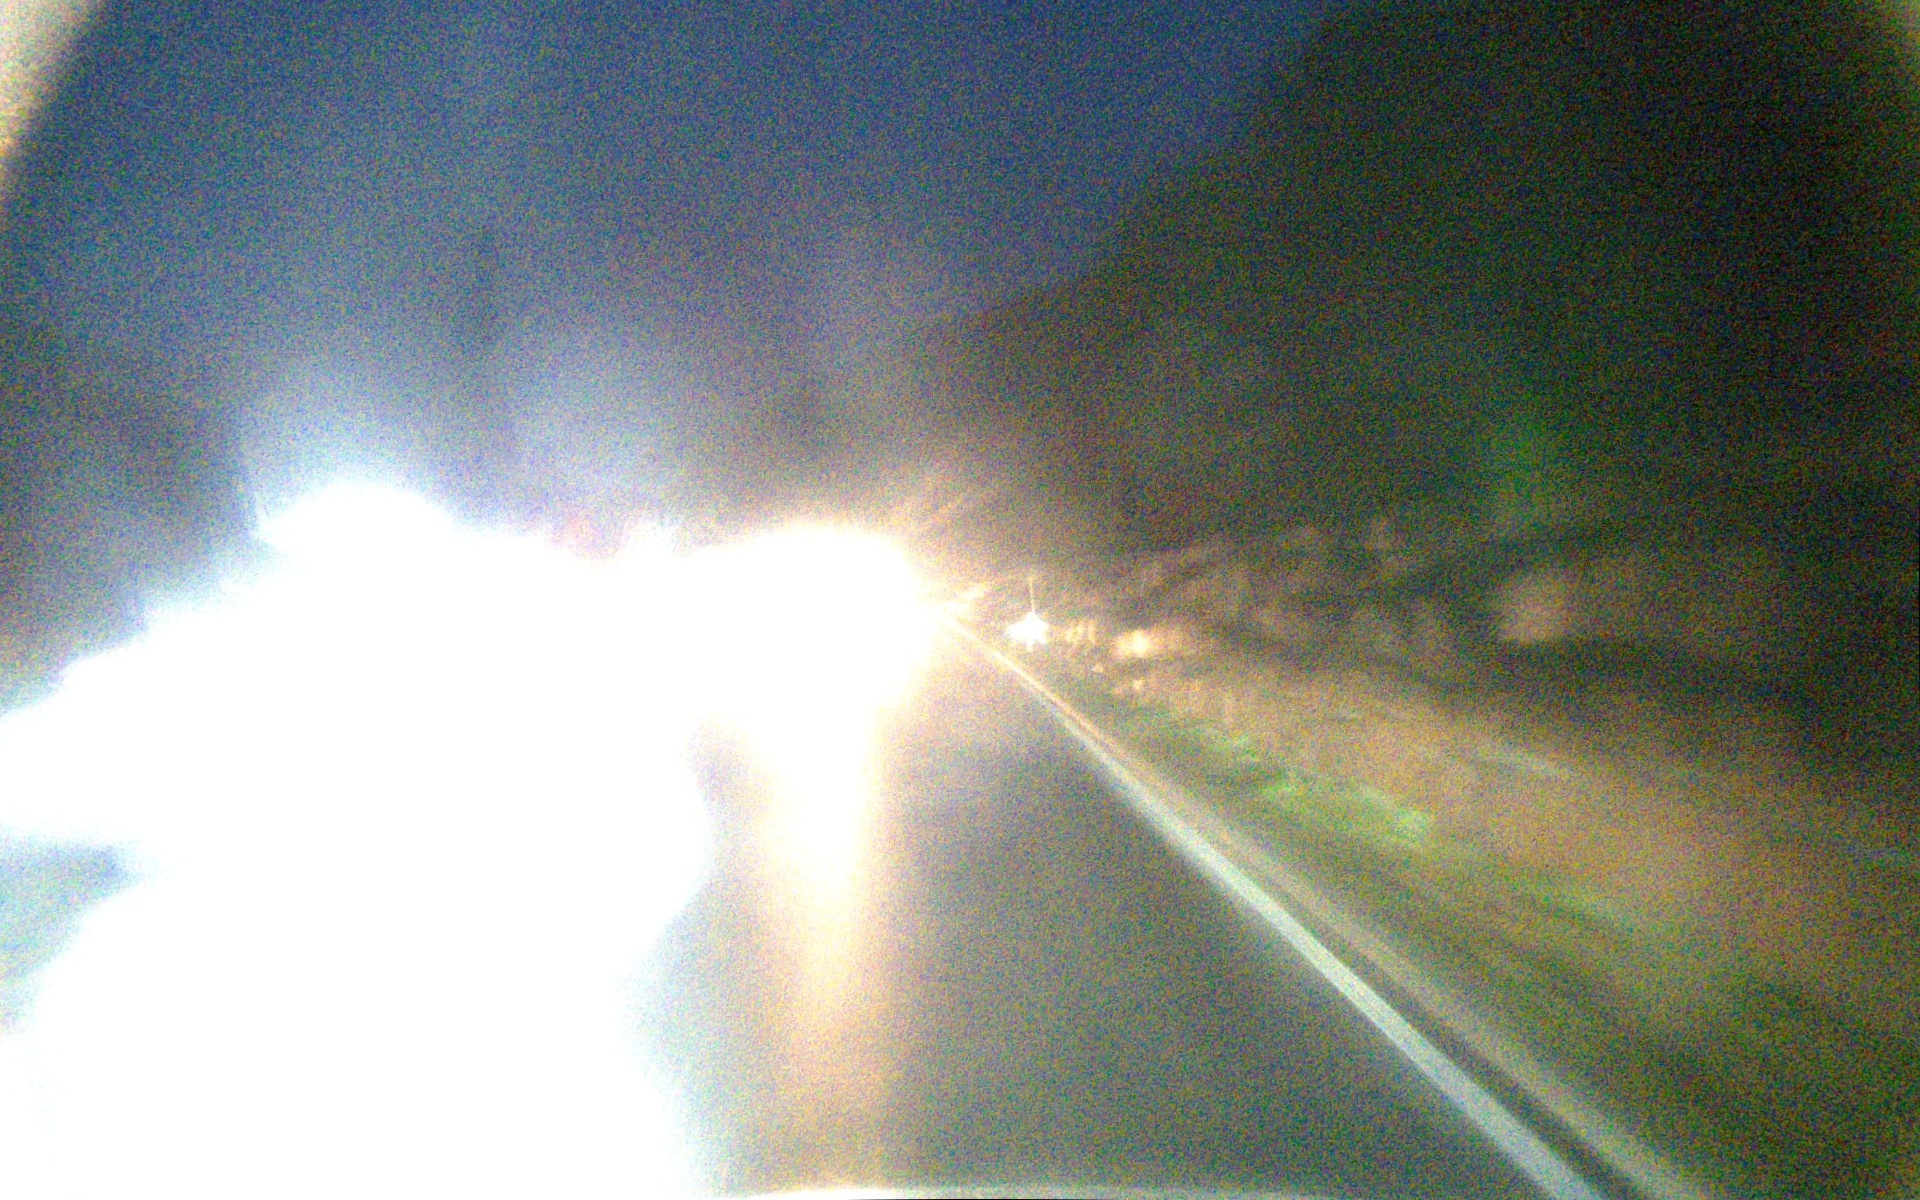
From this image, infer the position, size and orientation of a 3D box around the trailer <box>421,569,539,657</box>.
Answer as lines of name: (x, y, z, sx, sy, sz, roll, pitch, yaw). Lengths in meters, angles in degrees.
trailer: (-28.143, 0.746, 97.613, 3.258, 4.880, 11.557, 1, 0, 1)

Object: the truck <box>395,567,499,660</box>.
truck: (-28.331, 0.718, 91.704, 3.258, 4.880, 7.320, 1, 0, 1)

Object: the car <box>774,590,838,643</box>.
car: (-5.022, 0.536, 54.369, 1.790, 1.646, 3.727, 1, 0, -1)

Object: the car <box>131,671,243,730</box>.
car: (-25.812, 3.334, 55.393, 1.771, 1.705, 4.292, 1, 0, -1)

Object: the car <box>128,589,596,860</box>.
car: (-3.757, 0.685, 11.287, 1.831, 1.468, 4.460, 0, 0, -4)
